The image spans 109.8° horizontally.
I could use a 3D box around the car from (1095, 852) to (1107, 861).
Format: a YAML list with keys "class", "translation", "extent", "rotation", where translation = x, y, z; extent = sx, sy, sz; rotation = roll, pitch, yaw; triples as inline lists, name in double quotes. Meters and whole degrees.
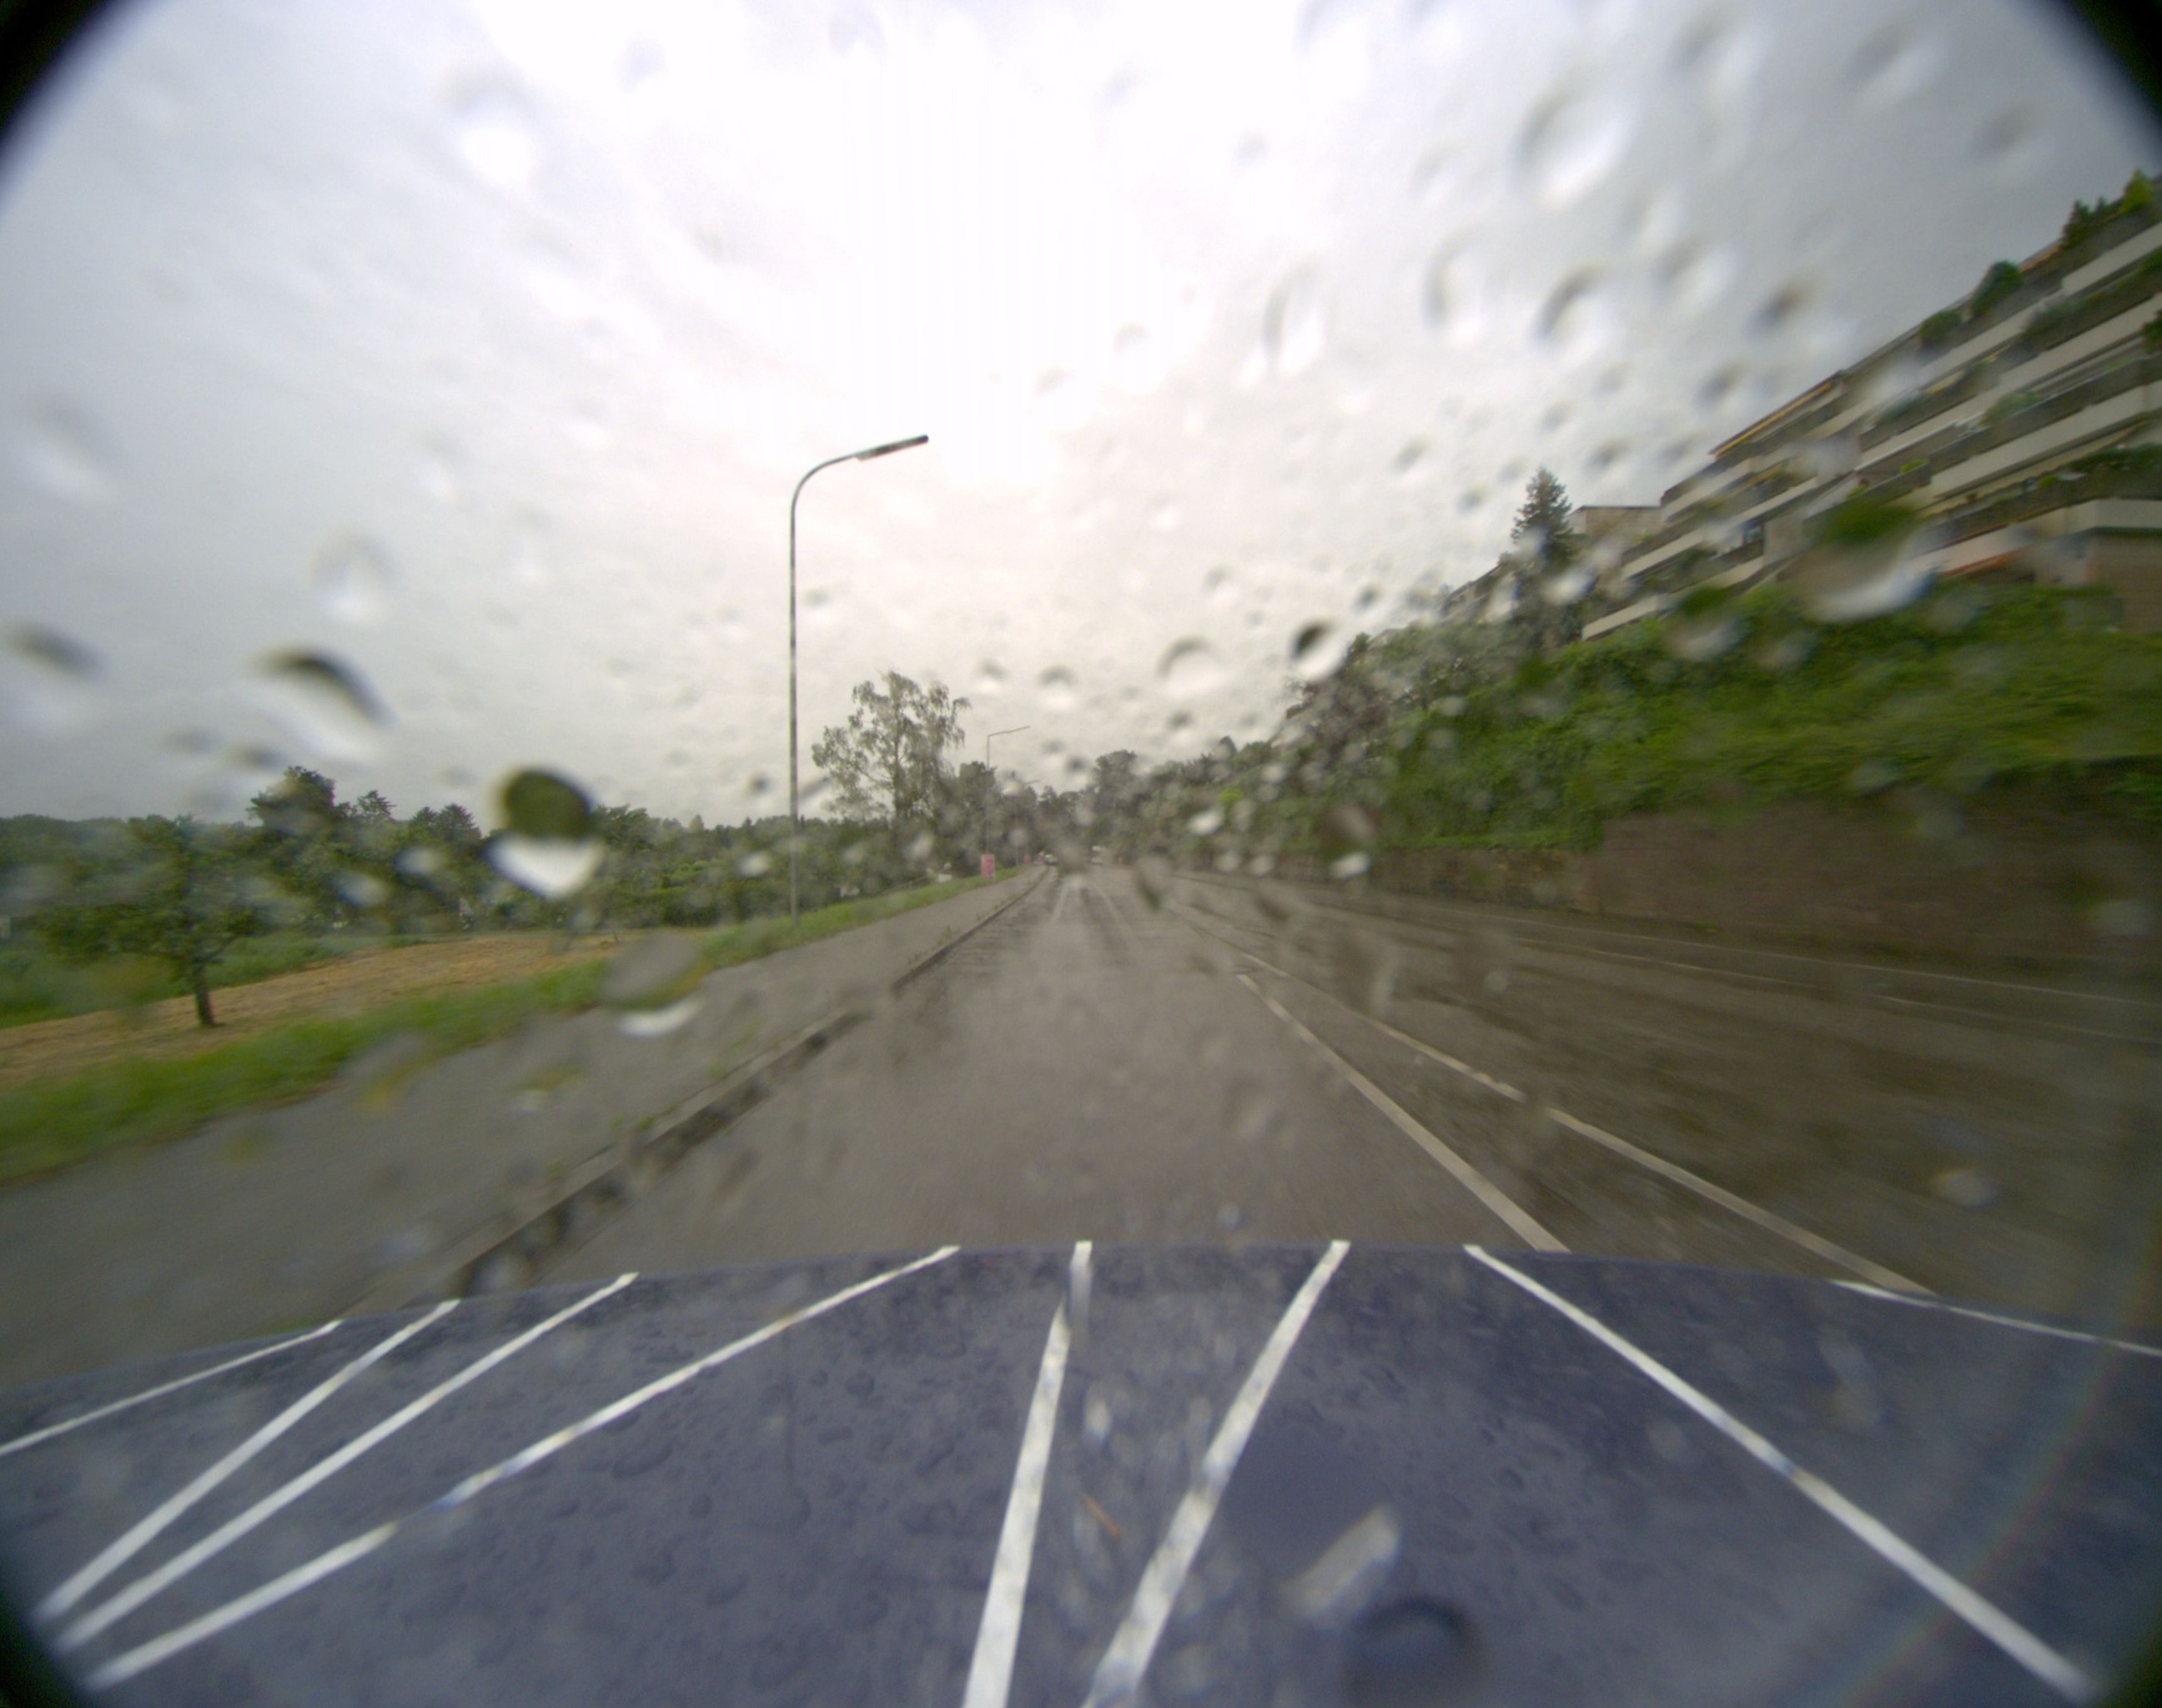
- class: "car"
  translation: [3.712, 0.448, 142.170]
  extent: [1.853, 1.583, 3.704]
  rotation: [-2, 0, -2]

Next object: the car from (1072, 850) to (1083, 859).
- class: "car"
  translation: [-0.778, 0.187, 181.820]
  extent: [1.855, 2.137, 3.701]
  rotation: [-2, 0, -13]

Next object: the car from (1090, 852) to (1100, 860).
- class: "car"
  translation: [2.892, 0.491, 160.191]
  extent: [1.853, 1.583, 3.704]
  rotation: [-2, 0, -2]

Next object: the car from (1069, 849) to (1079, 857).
- class: "car"
  translation: [-1.781, -0.255, 199.356]
  extent: [1.855, 2.137, 3.701]
  rotation: [-2, 0, -13]

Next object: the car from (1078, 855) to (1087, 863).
- class: "car"
  translation: [0.356, 0.919, 146.356]
  extent: [1.597, 1.433, 3.703]
  rotation: [1, 0, -2]

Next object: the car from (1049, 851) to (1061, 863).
- class: "car"
  translation: [-4.462, 0.501, 133.111]
  extent: [1.999, 2.001, 4.000]
  rotation: [-1, -1, -1]
